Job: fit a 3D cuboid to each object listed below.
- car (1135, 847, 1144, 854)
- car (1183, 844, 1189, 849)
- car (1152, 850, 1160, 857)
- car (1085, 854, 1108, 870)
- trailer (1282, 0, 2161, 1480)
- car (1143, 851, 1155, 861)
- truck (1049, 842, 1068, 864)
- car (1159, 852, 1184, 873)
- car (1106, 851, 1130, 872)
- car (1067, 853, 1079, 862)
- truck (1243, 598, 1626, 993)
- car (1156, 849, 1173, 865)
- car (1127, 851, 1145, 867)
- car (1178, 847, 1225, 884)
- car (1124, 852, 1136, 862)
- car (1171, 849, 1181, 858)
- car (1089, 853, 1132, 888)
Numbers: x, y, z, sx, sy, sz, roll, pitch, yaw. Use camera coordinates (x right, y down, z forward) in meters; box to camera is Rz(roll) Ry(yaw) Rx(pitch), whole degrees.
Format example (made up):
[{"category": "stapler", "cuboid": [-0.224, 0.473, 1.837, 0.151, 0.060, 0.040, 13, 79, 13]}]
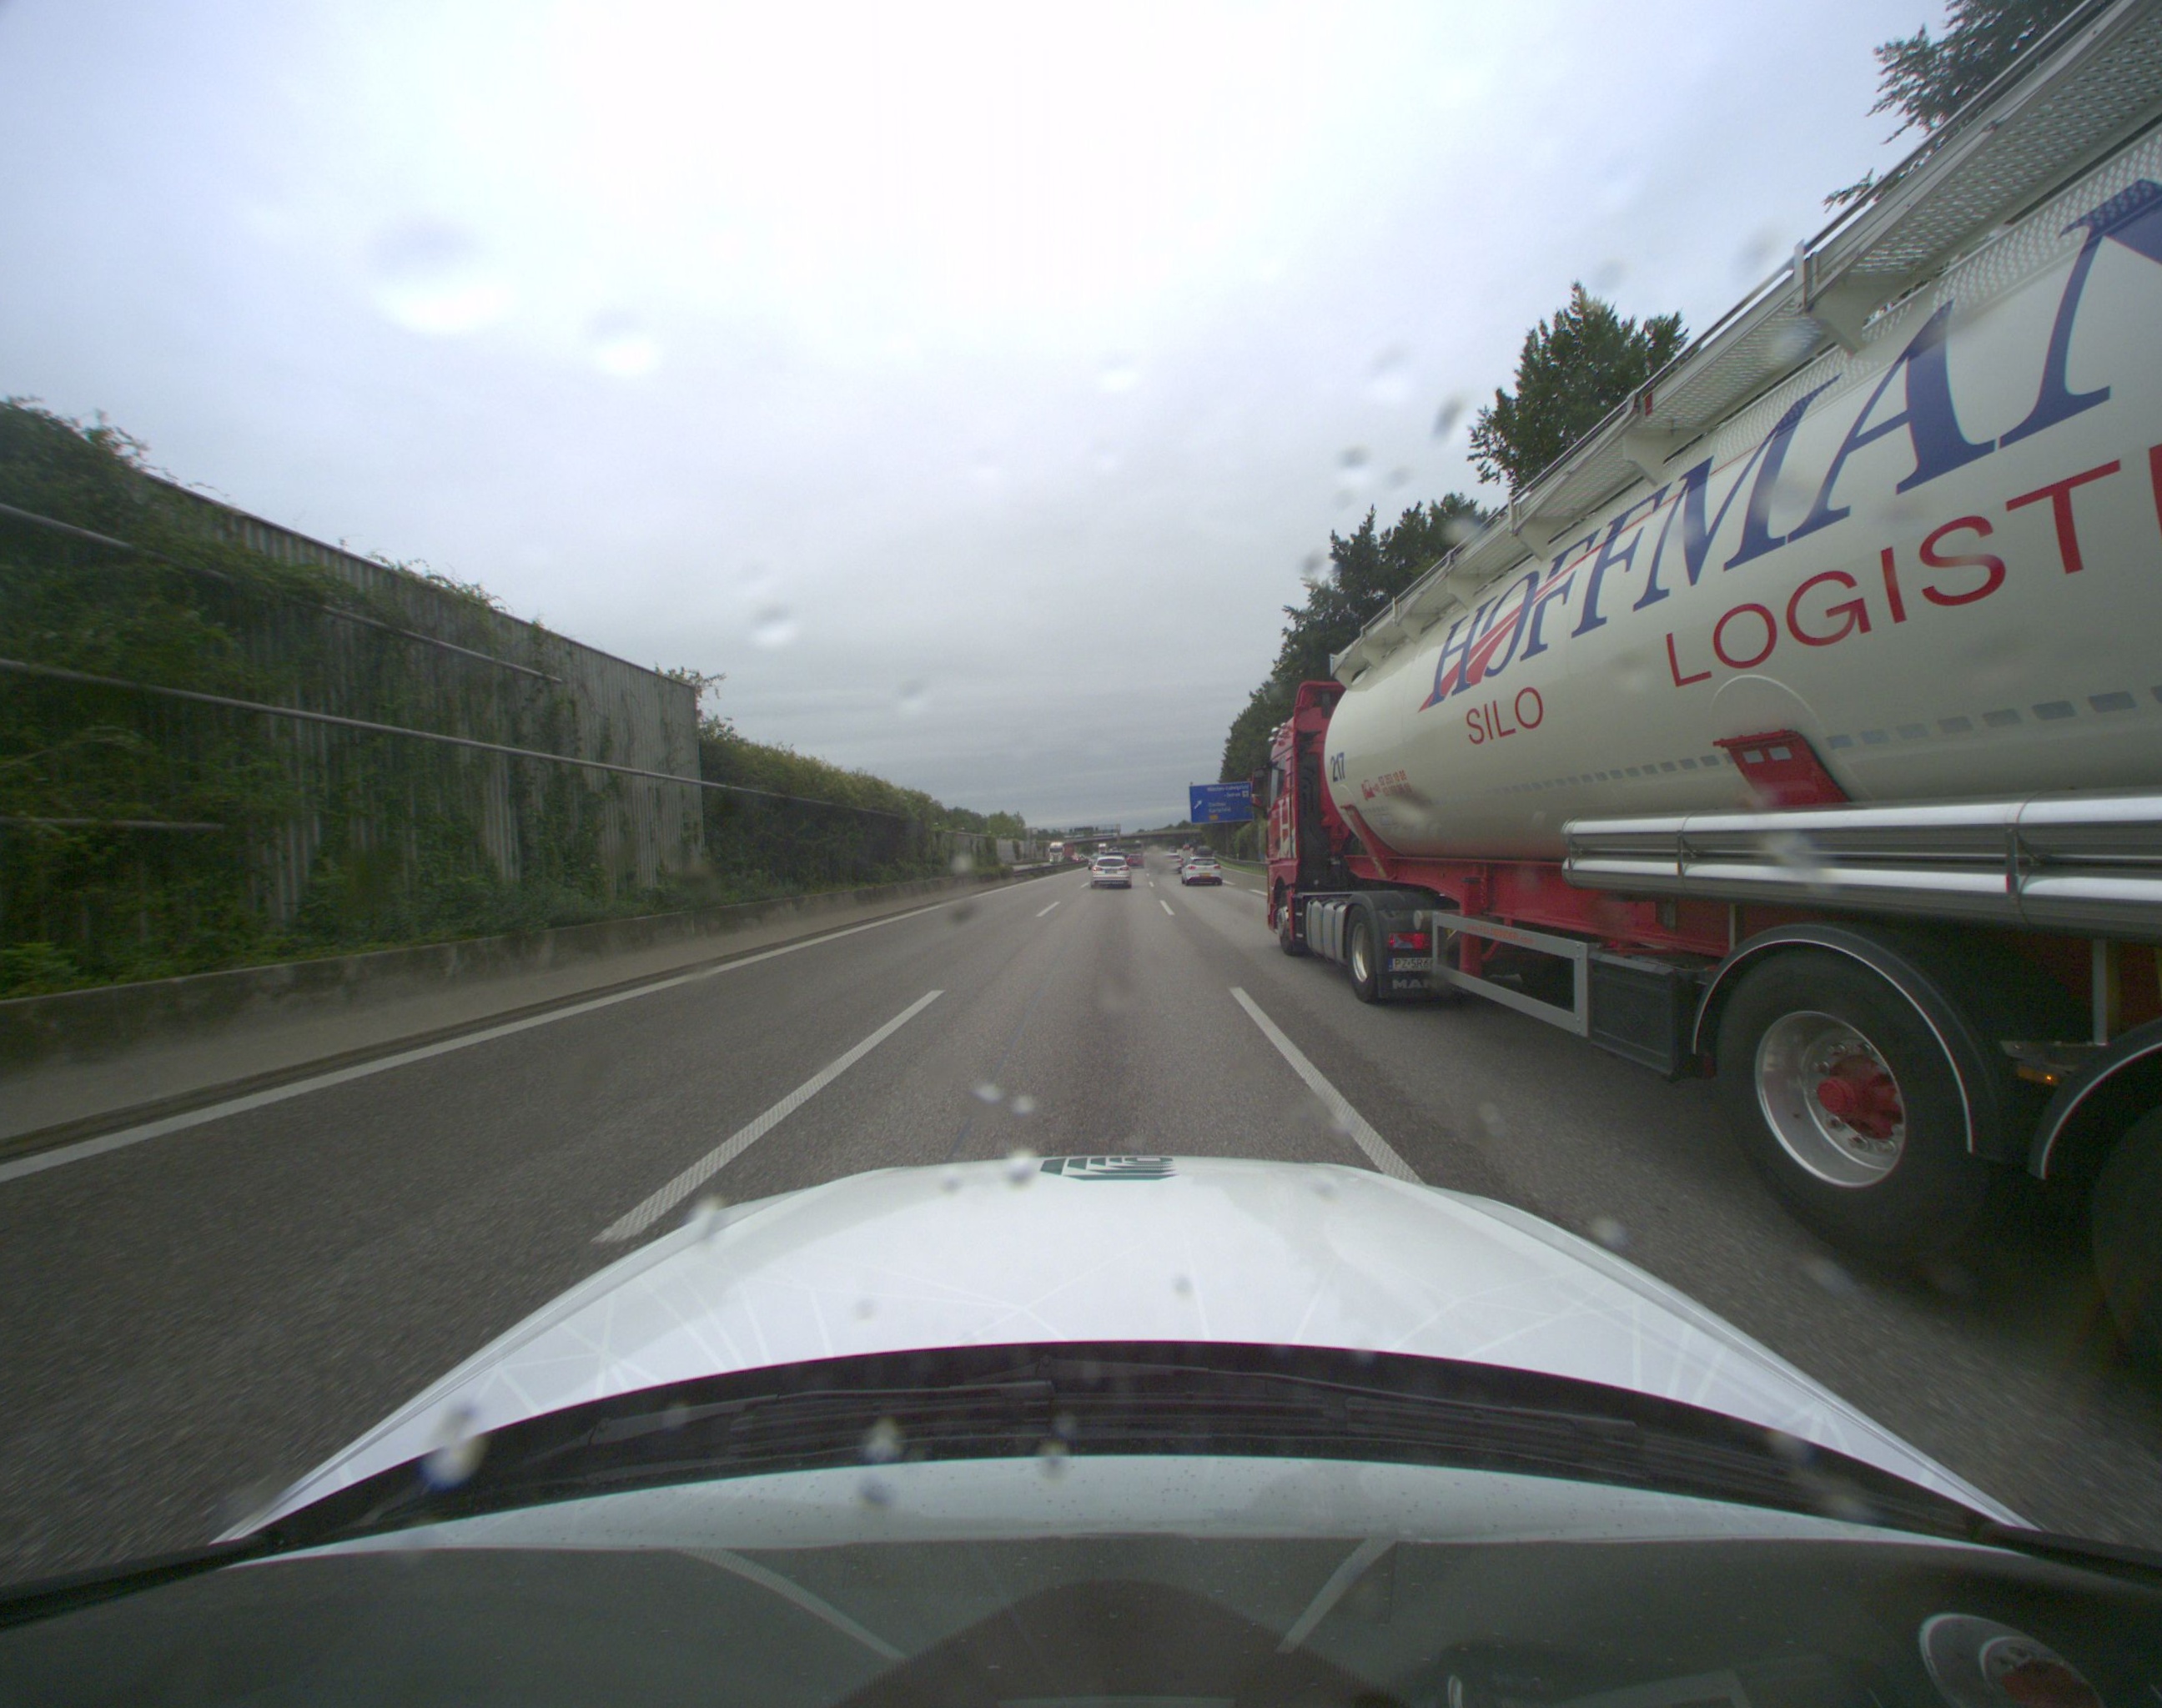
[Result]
[{"category": "car", "cuboid": [13.099, -0.742, 182.670, 1.680, 1.422, 3.878, -2, 0, 6]}, {"category": "car", "cuboid": [28.512, -1.966, 220.977, 1.680, 1.422, 3.878, -2, 0, 6]}, {"category": "car", "cuboid": [16.641, -0.112, 180.842, 1.679, 1.539, 3.880, -2, 0, 8]}, {"category": "car", "cuboid": [1.581, 0.795, 81.452, 1.711, 1.469, 5.039, -2, -2, 7]}, {"category": "trailer", "cuboid": [3.856, -0.567, 4.296, 2.658, 3.938, 13.135, -1, 0, 2]}, {"category": "car", "cuboid": [12.227, 0.371, 146.967, 1.780, 1.779, 3.880, -3, -1, 8]}, {"category": "truck", "cuboid": [-4.395, -0.196, 158.529, 2.654, 4.127, 5.928, -2, 0, 7]}, {"category": "car", "cuboid": [6.794, 0.643, 60.947, 1.680, 1.506, 3.879, -2, -1, 7]}, {"category": "car", "cuboid": [3.042, 0.579, 66.074, 1.681, 1.506, 3.877, 2, 1, 5]}, {"category": "car", "cuboid": [-1.520, 0.641, 153.039, 1.764, 1.569, 4.722, -2, -1, 4]}, {"category": "truck", "cuboid": [4.195, -0.565, 11.480, 2.684, 3.912, 6.560, -2, -1, 2]}, {"category": "car", "cuboid": [9.828, 0.384, 95.865, 1.679, 1.780, 3.880, -3, -1, 8]}, {"category": "car", "cuboid": [5.728, 0.511, 84.045, 1.680, 1.506, 3.878, -1, 0, 6]}, {"category": "car", "cuboid": [5.832, 0.537, 39.909, 1.808, 1.625, 5.035, -2, 0, 4]}, {"category": "car", "cuboid": [8.562, 0.578, 142.349, 1.679, 1.639, 3.880, -3, -1, 8]}, {"category": "car", "cuboid": [18.289, -0.106, 157.155, 1.679, 1.539, 3.880, -2, 0, 8]}, {"category": "car", "cuboid": [1.440, 0.719, 38.022, 1.884, 1.504, 5.034, 0, 0, 3]}]
